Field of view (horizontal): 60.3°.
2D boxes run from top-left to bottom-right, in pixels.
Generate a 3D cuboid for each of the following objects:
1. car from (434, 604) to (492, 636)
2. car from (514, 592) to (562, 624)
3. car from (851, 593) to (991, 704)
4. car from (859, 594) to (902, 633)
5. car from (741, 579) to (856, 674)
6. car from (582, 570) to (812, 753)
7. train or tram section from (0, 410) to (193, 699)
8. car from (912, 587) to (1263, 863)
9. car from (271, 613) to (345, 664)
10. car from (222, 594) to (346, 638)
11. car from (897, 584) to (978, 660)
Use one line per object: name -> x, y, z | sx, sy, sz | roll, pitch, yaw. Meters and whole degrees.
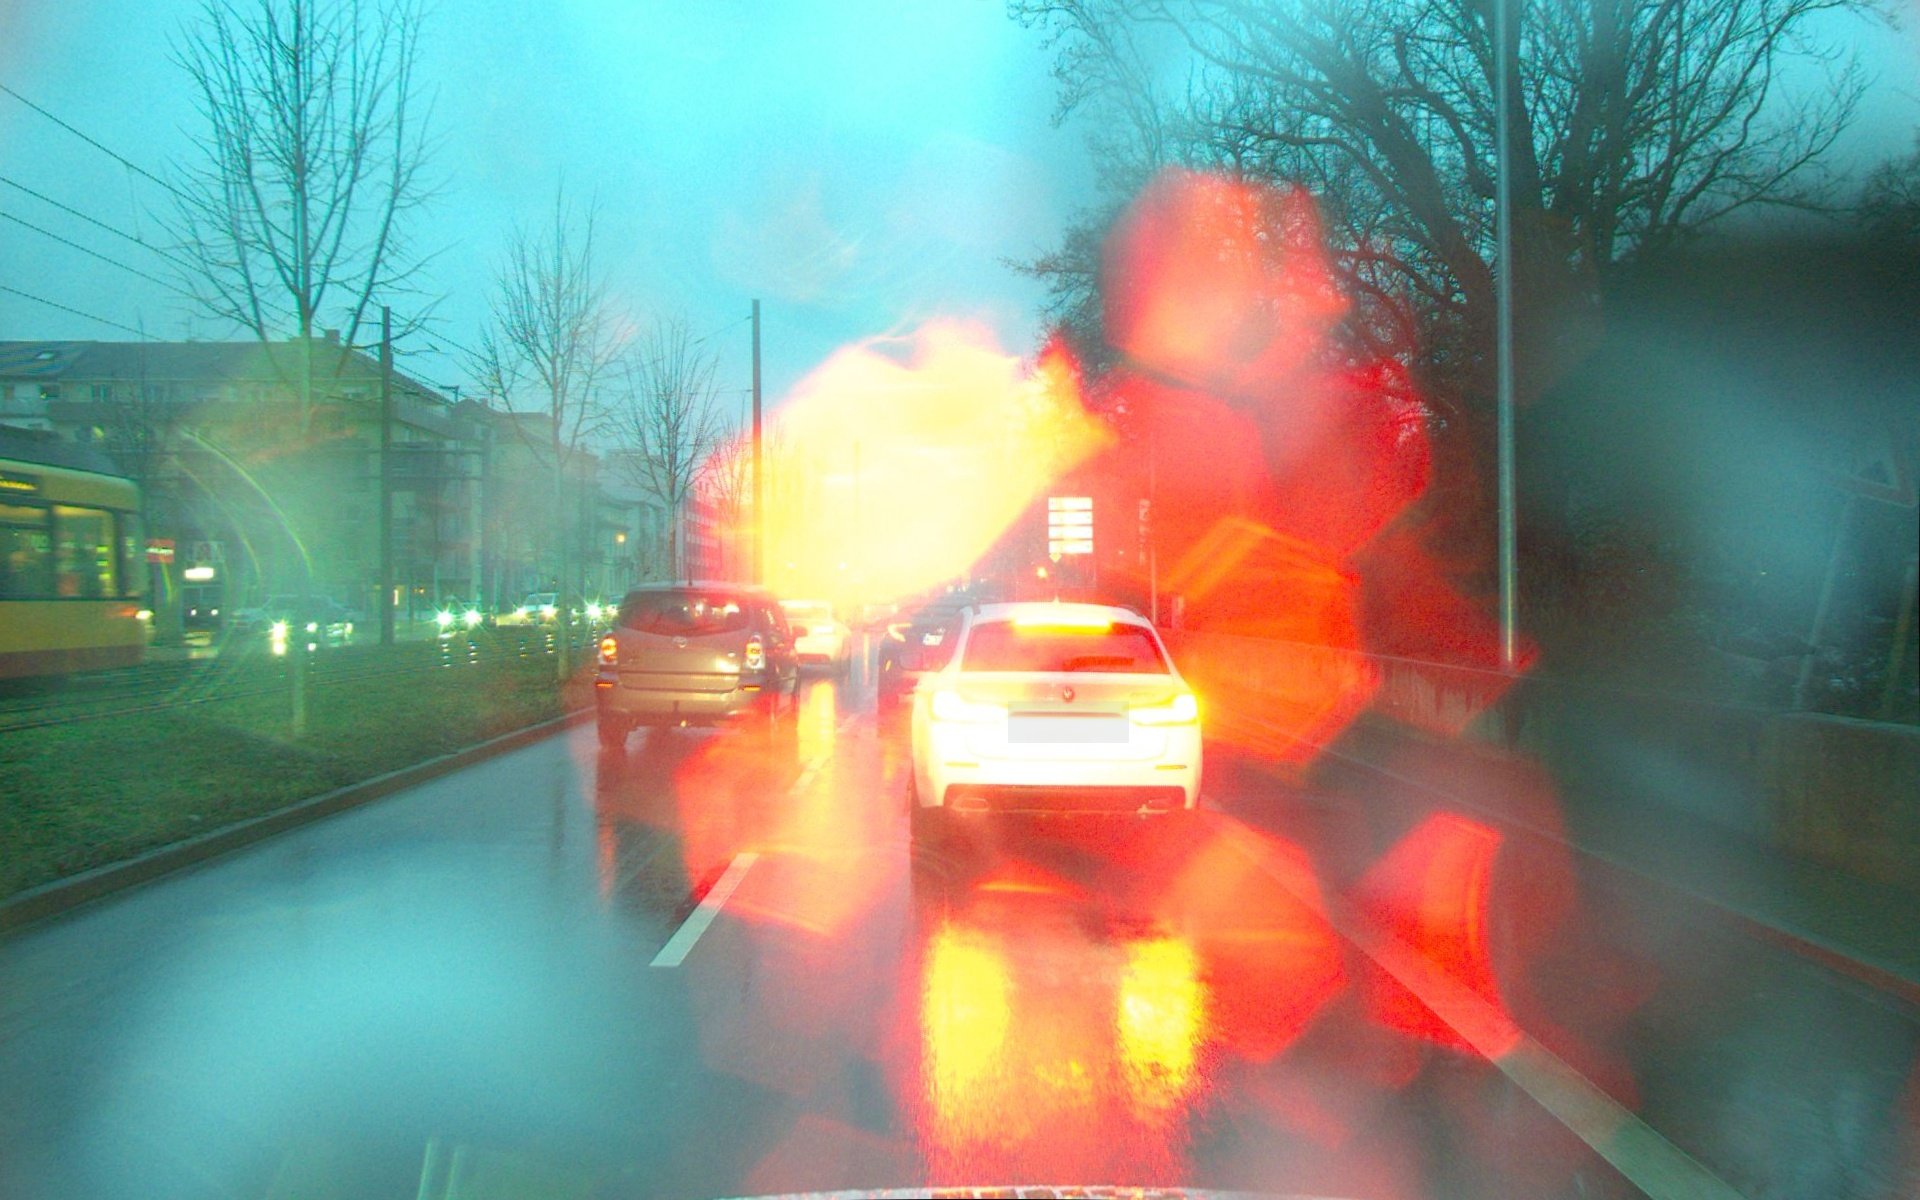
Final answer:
car -> -23.293, 0.921, 77.635 | 1.859, 1.456, 3.703 | 0, 0, -4
car -> -23.633, 0.440, 92.783 | 1.859, 1.749, 5.112 | 0, 0, -6
car -> -0.539, 0.648, 24.471 | 1.896, 1.483, 4.163 | 0, 0, 0
car -> -3.545, 0.570, 74.281 | 1.770, 1.674, 4.000 | 1, 0, 0
car -> -3.198, 0.509, 33.447 | 1.953, 1.785, 3.999 | 1, 0, -1
car -> -2.619, 0.564, 17.379 | 1.770, 1.674, 4.000 | 1, 0, 0
train or tram section -> -13.181, -0.540, 18.329 | 2.897, 3.548, 14.263 | -1, 0, -1
car -> 0.706, 0.695, 11.358 | 1.958, 1.534, 4.163 | 0, 0, 0
car -> -26.314, 1.529, 66.876 | 1.689, 1.918, 3.922 | 0, 0, -4
car -> -32.080, 0.740, 78.563 | 1.966, 1.945, 5.128 | -1, 0, 44
car -> -0.497, 0.480, 38.542 | 1.770, 1.674, 4.000 | 1, 0, 0
